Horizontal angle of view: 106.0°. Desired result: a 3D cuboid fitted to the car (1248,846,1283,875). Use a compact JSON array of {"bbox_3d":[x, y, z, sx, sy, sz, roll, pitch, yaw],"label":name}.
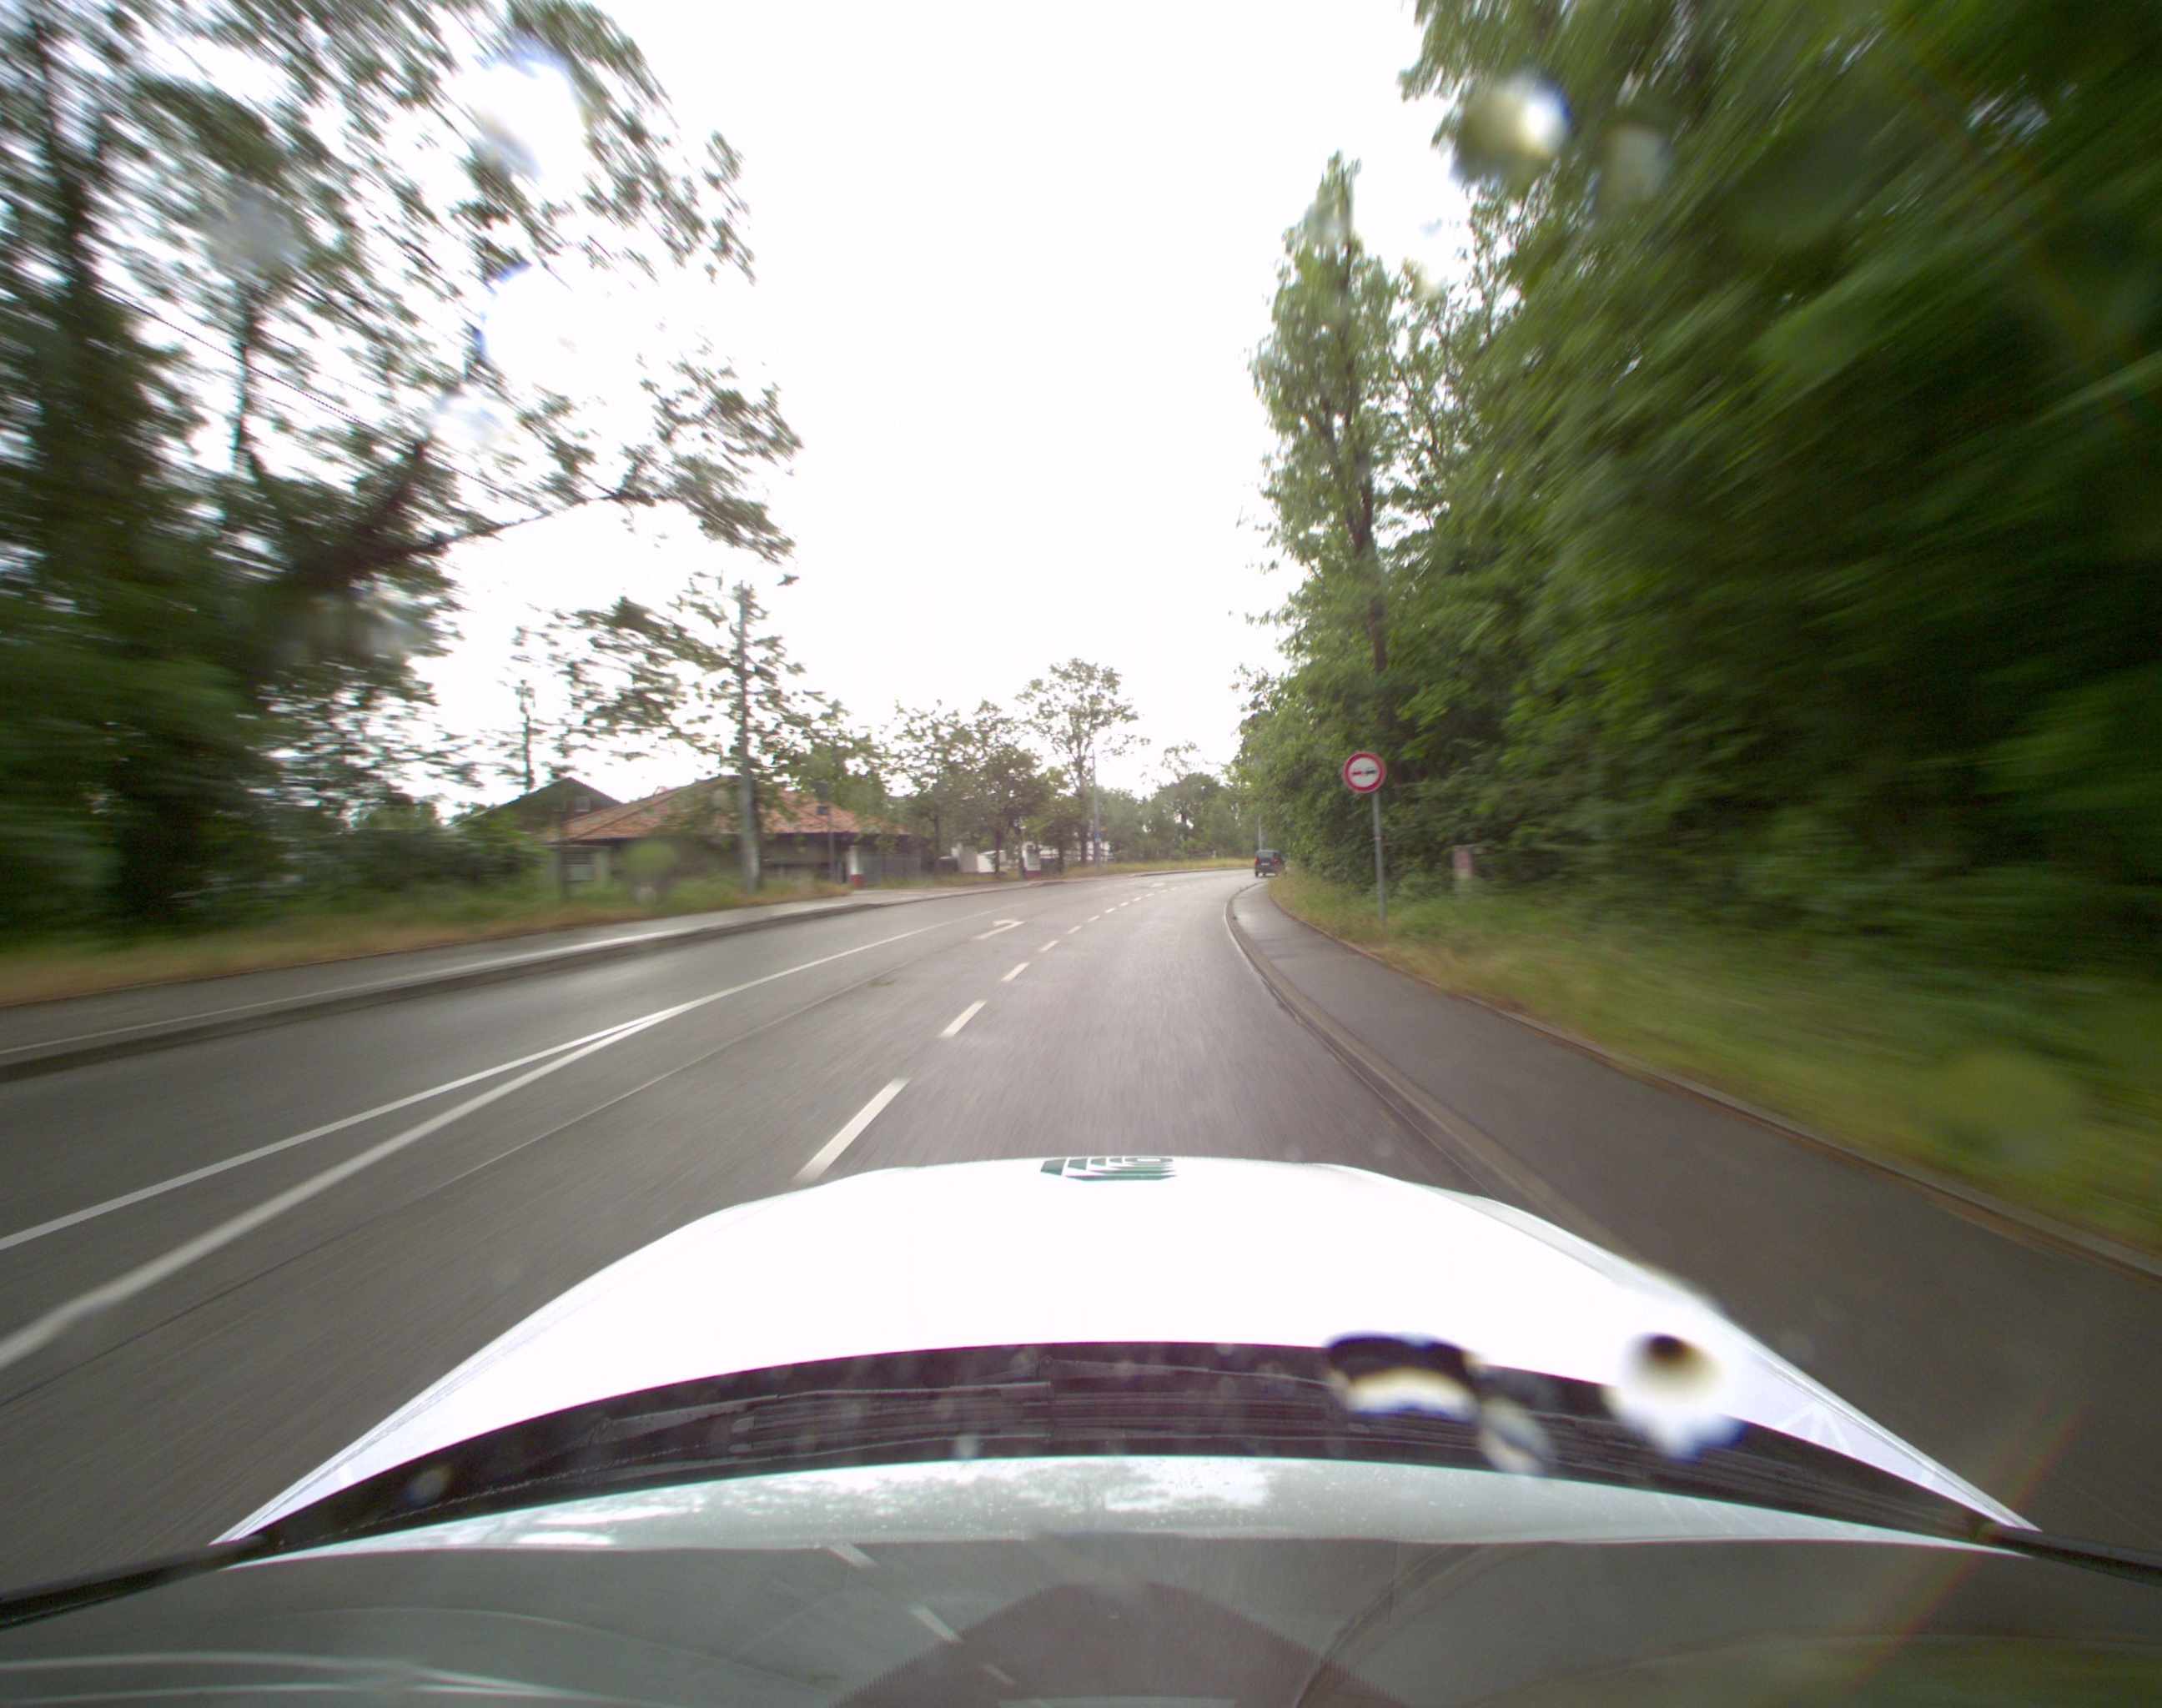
[{"bbox_3d":[13.123,0.474,57.754,1.812,1.794,4.019,-6,-2,18],"label":"car"}]
